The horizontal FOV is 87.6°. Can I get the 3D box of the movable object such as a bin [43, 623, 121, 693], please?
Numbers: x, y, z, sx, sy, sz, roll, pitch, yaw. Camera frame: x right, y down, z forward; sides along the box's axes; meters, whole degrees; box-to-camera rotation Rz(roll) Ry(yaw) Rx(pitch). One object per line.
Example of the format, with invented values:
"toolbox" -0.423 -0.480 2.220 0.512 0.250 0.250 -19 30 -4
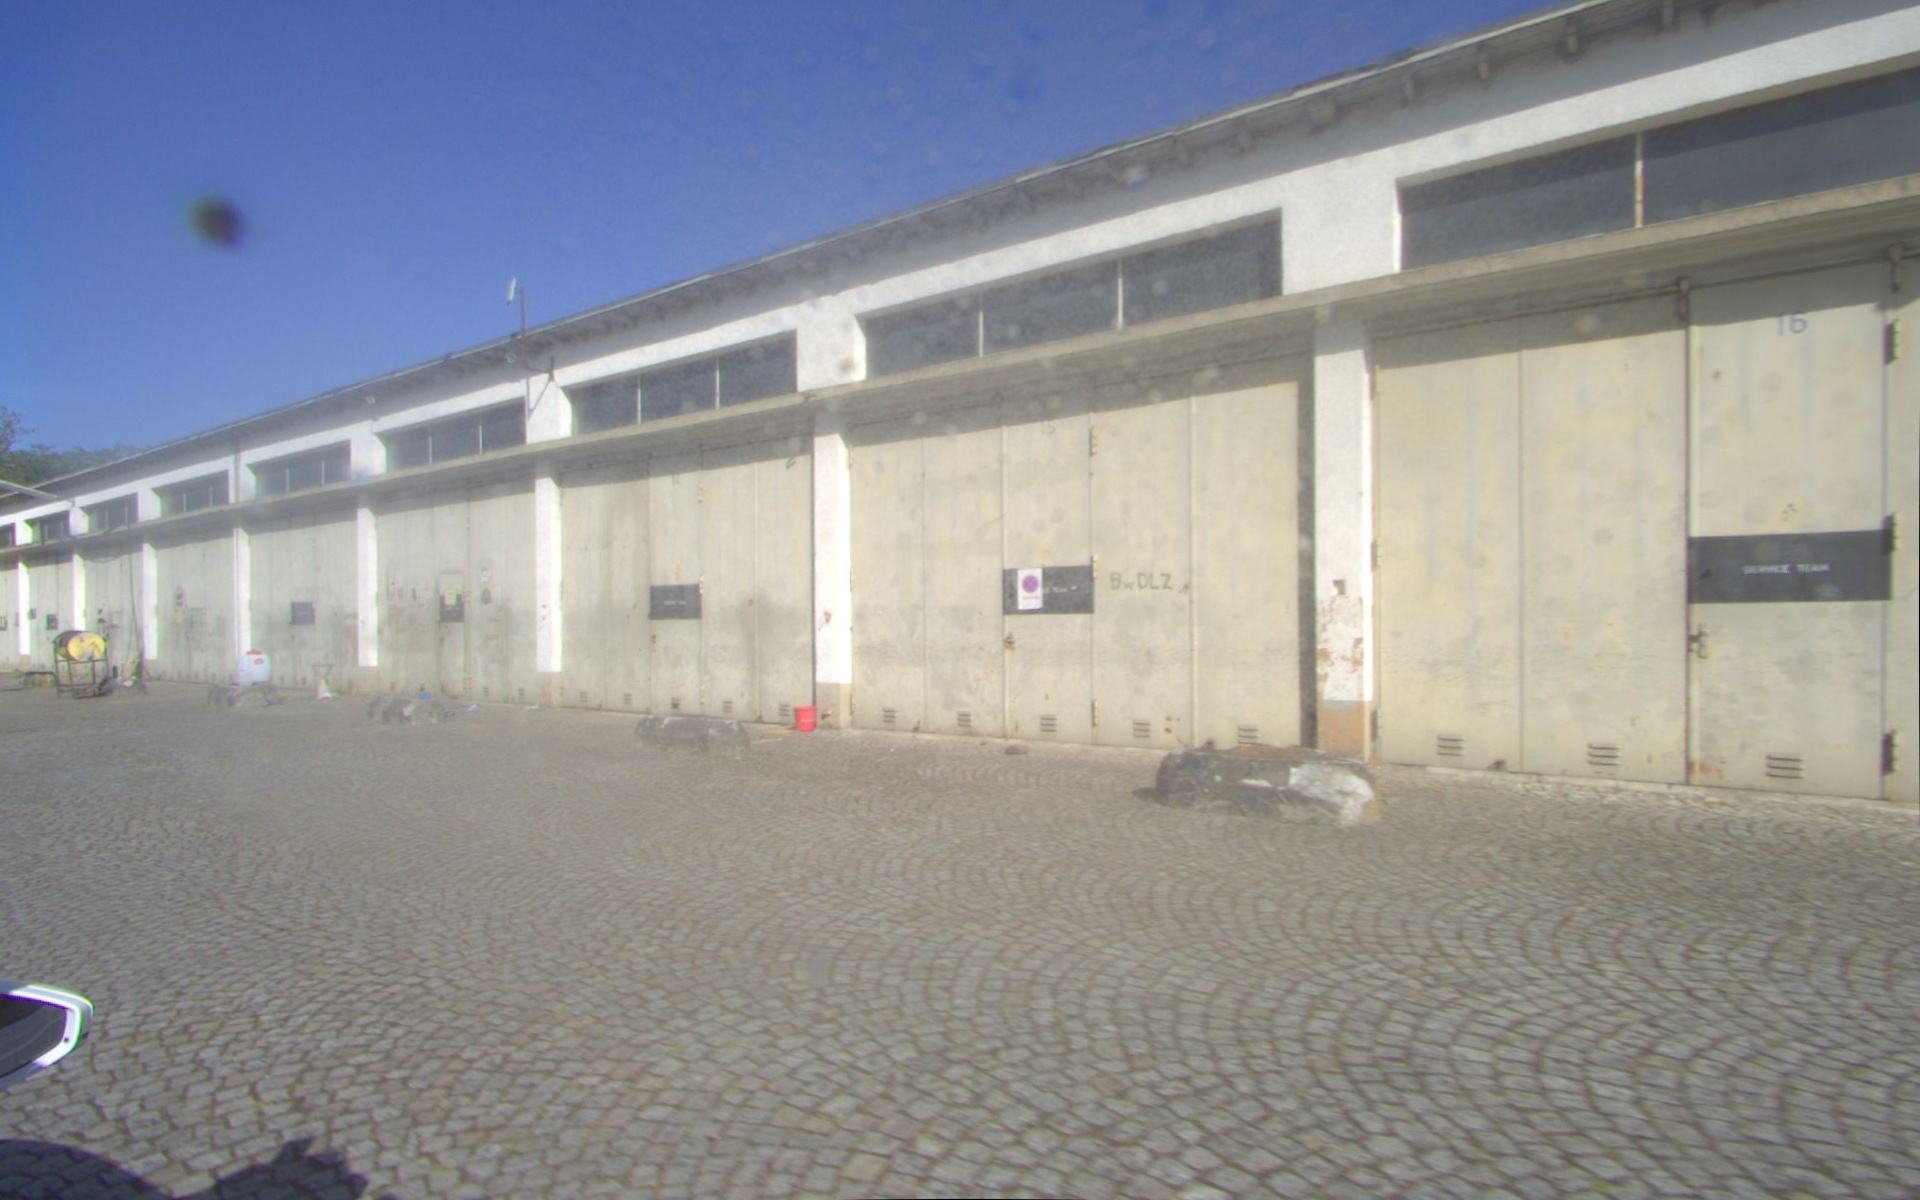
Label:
"movable object such as a bin" -17.619 1.152 20.095 1.261 1.349 0.822 -1 0 30
